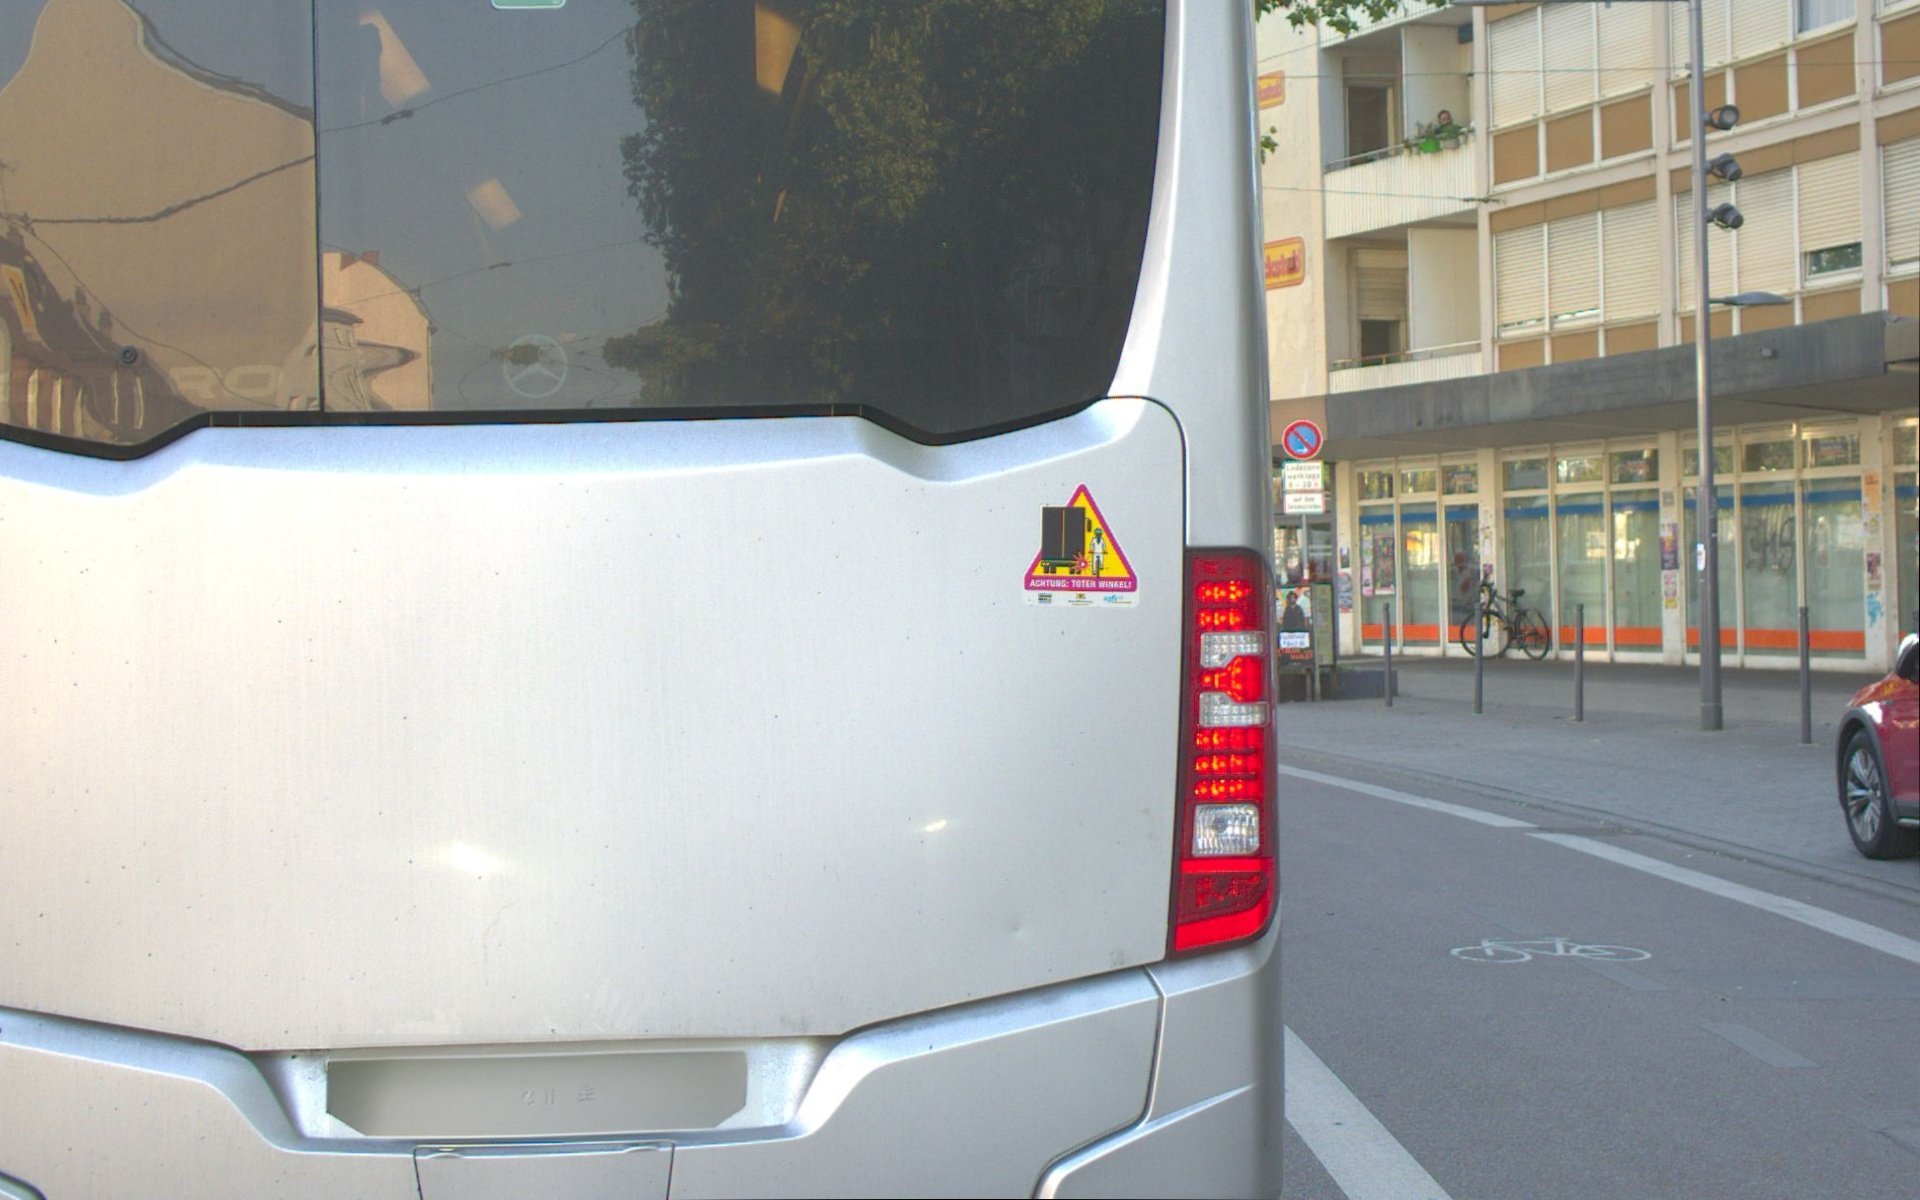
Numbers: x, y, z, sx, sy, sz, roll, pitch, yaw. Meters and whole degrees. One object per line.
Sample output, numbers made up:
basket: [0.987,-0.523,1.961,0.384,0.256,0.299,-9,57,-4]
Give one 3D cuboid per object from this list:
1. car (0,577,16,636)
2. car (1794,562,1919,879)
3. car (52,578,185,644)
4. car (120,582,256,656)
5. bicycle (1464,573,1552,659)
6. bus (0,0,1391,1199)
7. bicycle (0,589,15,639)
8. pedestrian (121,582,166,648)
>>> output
car: [-25.689,0.205,87.972,1.663,1.463,3.411,-5,3,-38]
car: [5.501,0.551,15.914,1.778,1.491,4.568,-3,1,-5]
car: [-19.818,0.248,80.913,1.663,1.390,3.411,-5,3,-39]
car: [-17.447,0.403,77.604,1.663,1.511,3.412,-5,3,-37]
bicycle: [7.225,0.207,45.382,0.437,1.089,1.462,-4,1,-20]
bus: [-0.869,-0.101,10.549,2.657,3.088,10.217,-1,0,-2]
bicycle: [-23.716,0.350,84.873,0.507,1.207,2.093,-1,1,-21]
pedestrian: [-16.345,0.297,68.812,0.777,1.299,0.594,-1,0,-21]
